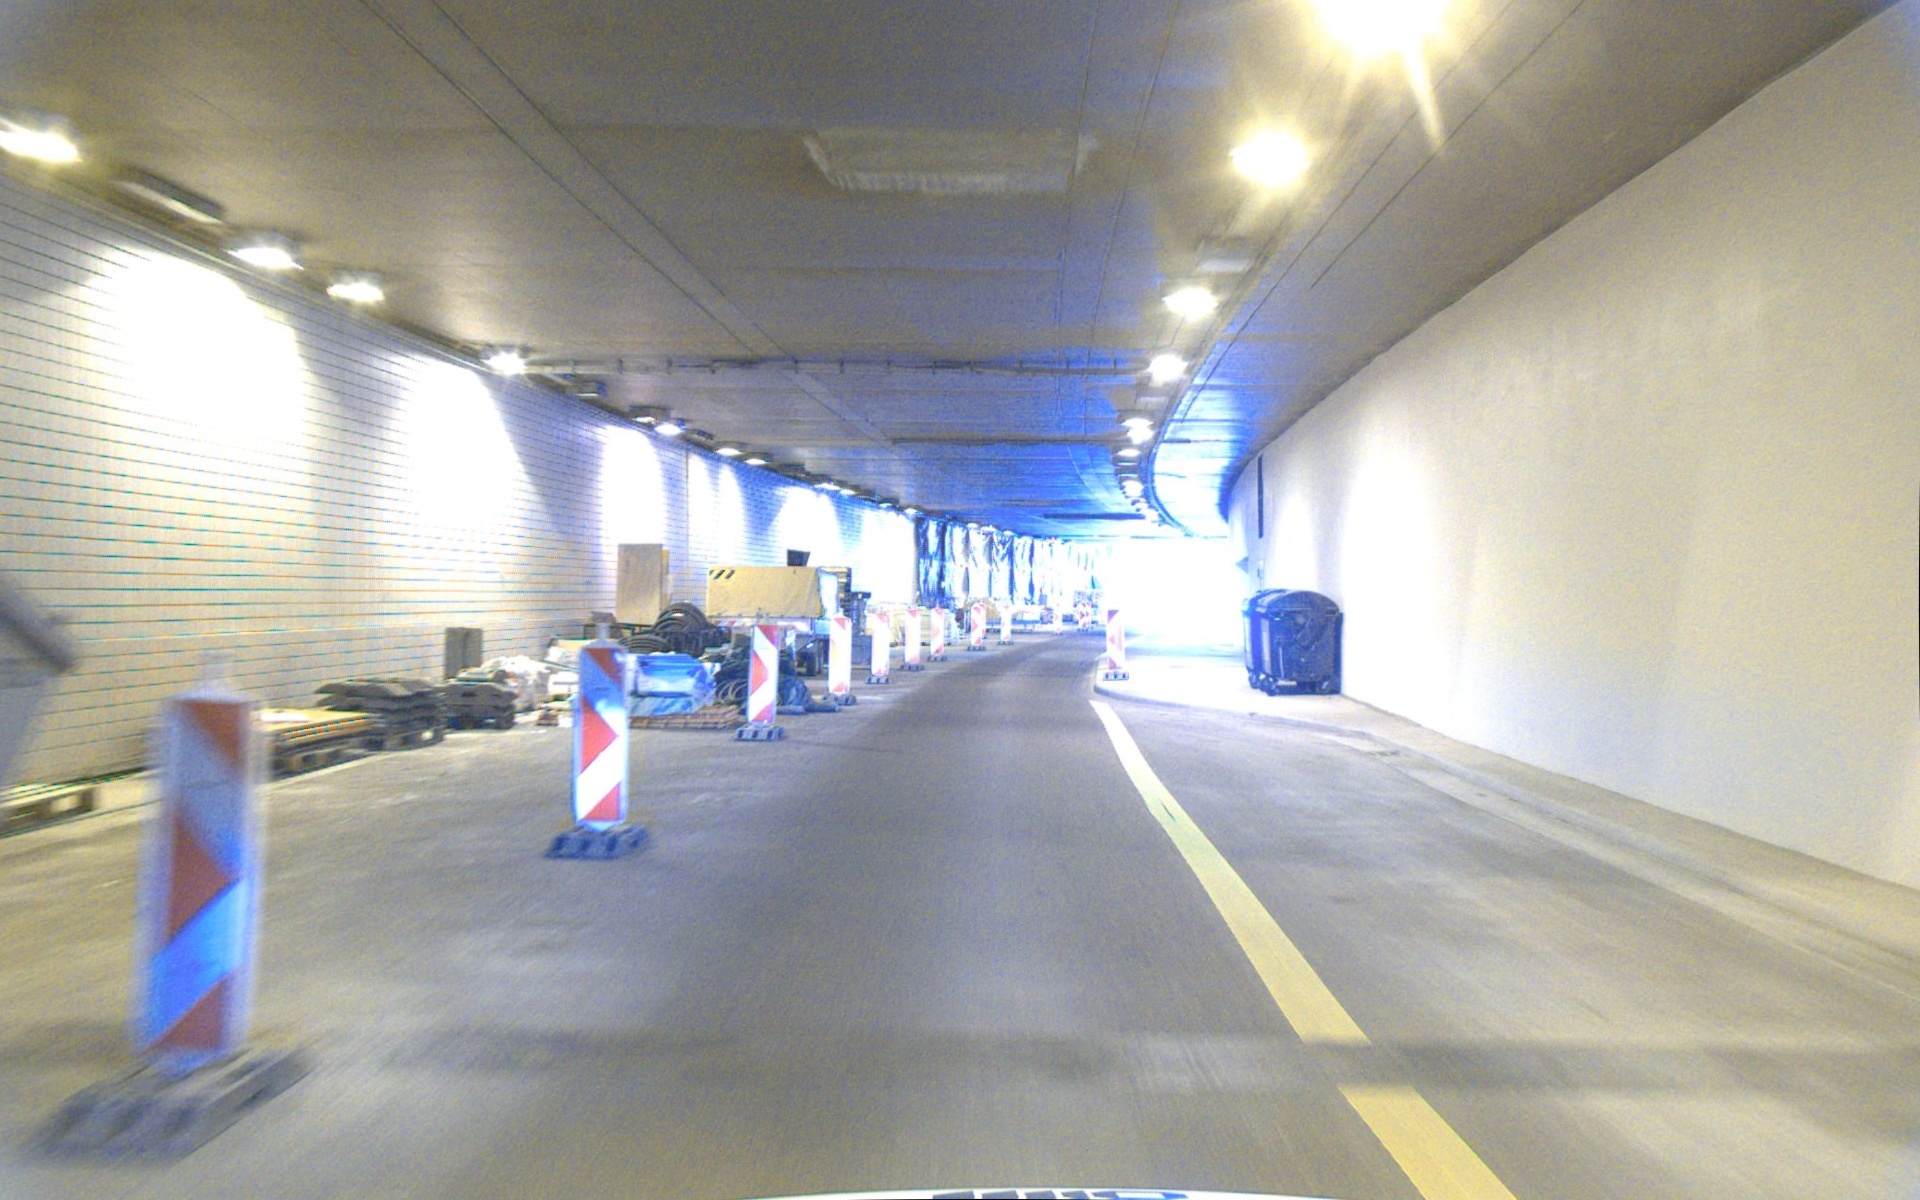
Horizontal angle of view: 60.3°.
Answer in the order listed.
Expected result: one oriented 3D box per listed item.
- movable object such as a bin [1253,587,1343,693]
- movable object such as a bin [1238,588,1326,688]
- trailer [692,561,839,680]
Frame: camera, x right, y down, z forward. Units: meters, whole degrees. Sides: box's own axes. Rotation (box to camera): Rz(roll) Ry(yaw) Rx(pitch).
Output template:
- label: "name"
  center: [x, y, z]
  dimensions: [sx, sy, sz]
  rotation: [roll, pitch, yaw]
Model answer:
- label: "movable object such as a bin"
  center: [4.827, 0.559, 23.692]
  dimensions: [1.074, 1.470, 1.322]
  rotation: [1, -1, 3]
- label: "movable object such as a bin"
  center: [4.865, 0.568, 25.095]
  dimensions: [1.121, 1.470, 1.364]
  rotation: [1, -1, 3]
- label: "trailer"
  center: [-3.492, 0.366, 30.347]
  dimensions: [2.162, 2.049, 3.467]
  rotation: [1, 0, 2]
